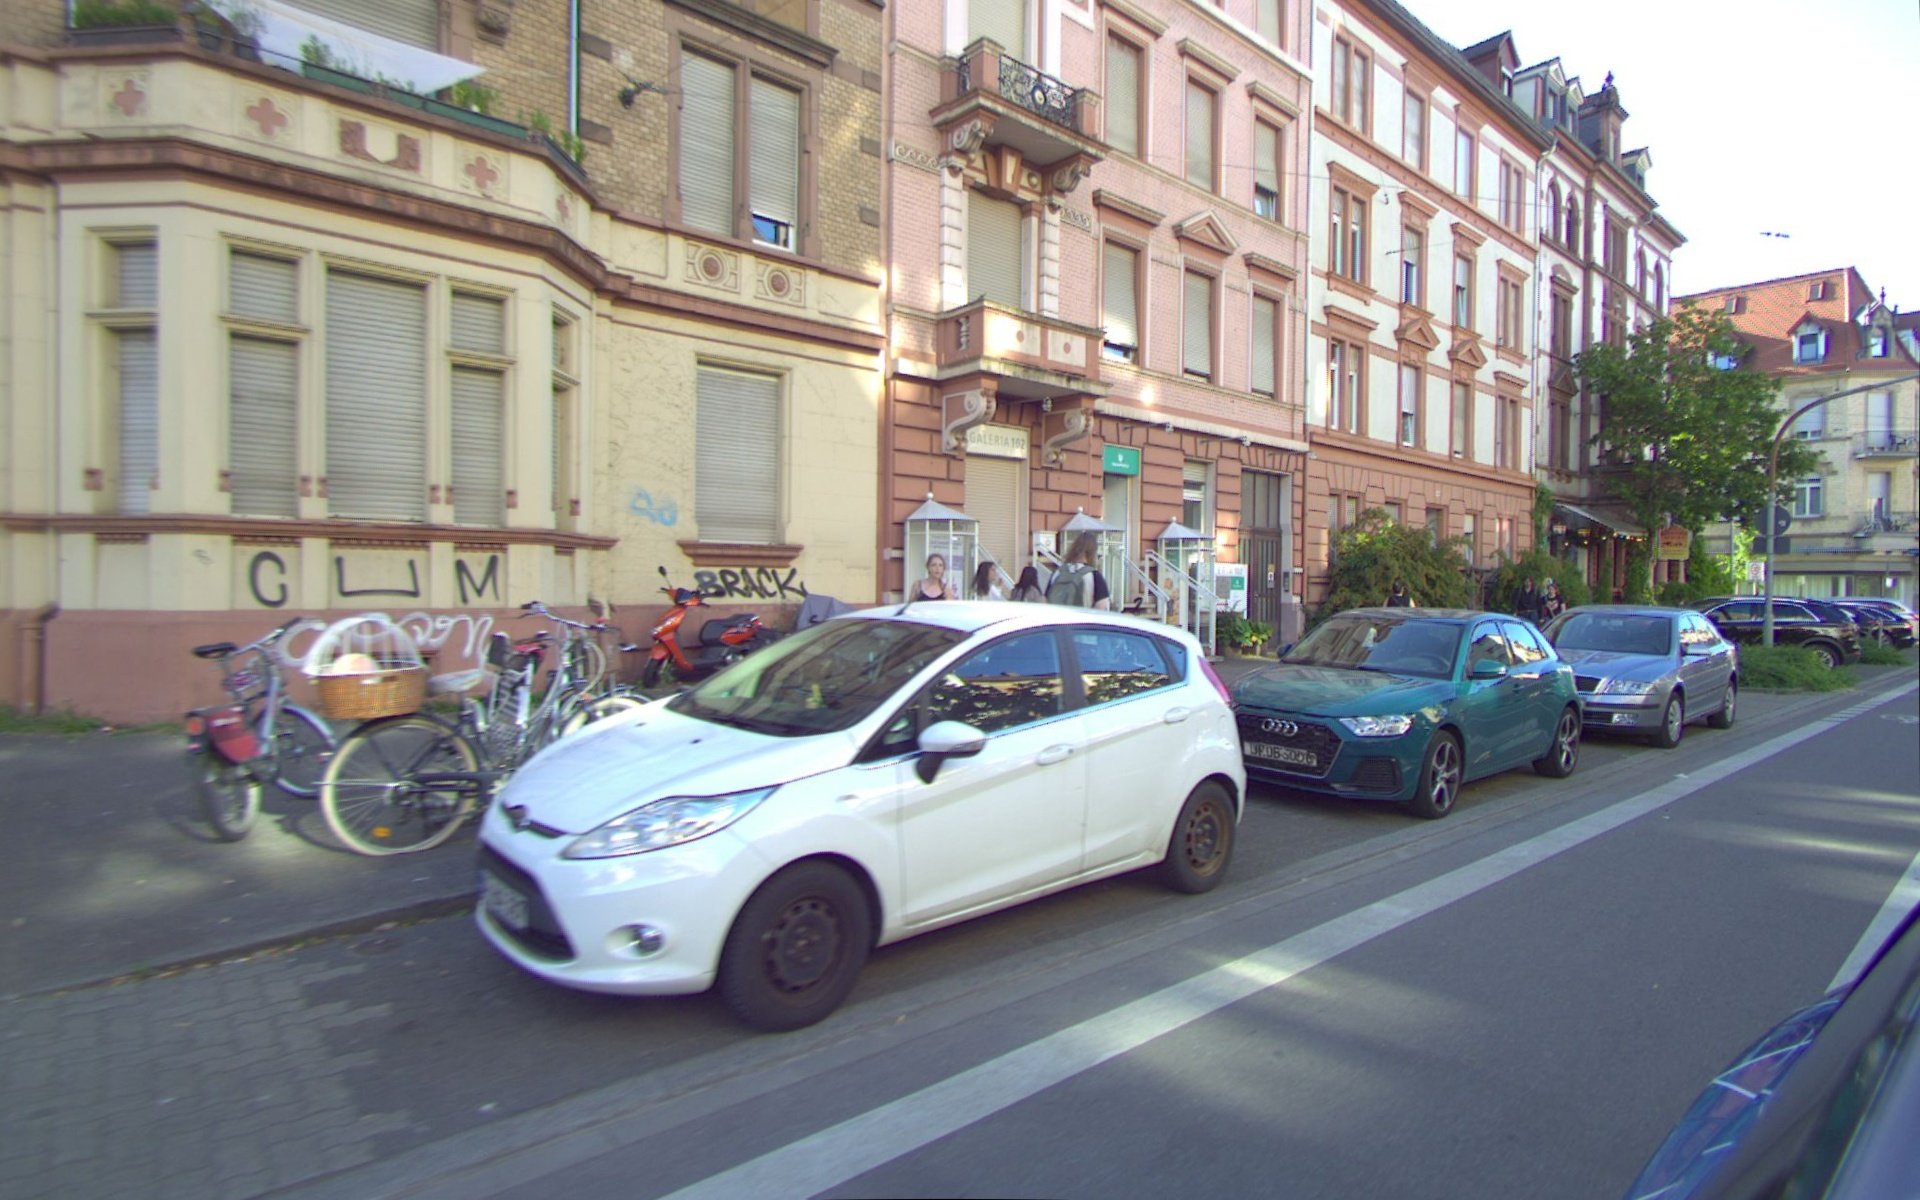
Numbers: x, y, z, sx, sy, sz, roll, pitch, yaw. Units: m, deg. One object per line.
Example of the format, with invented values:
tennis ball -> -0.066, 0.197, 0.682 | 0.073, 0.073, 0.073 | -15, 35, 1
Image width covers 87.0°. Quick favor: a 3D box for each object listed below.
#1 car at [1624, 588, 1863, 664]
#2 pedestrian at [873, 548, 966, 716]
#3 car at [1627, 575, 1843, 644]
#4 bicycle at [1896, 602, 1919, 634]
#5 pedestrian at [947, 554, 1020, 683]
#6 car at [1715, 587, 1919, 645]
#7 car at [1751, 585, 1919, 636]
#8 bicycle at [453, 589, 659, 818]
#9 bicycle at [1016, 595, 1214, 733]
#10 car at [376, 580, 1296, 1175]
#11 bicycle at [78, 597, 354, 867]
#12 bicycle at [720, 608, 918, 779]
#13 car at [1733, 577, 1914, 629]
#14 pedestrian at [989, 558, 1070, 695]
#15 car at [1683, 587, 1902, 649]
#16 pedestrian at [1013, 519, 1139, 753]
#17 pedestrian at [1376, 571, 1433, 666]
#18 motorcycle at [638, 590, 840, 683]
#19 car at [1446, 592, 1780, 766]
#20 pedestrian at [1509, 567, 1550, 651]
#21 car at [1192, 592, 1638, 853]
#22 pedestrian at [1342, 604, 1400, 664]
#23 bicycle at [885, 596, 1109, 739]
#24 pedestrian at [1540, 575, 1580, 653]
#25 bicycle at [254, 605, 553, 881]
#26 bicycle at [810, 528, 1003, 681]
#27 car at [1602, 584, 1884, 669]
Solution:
car -> 17.874, 0.545, 23.353 | 3.958, 1.616, 2.070 | 0, 0, 25
pedestrian -> -0.417, 0.305, 10.294 | 0.643, 1.627, 0.713 | 0, 0, -41
car -> 19.300, 0.202, 25.446 | 3.958, 1.616, 1.943 | 0, 0, 25
bicycle -> 34.208, 0.642, 35.931 | 0.542, 1.141, 1.399 | 0, 0, -40
pedestrian -> 0.301, 0.232, 13.259 | 0.643, 1.627, 0.713 | 0, 0, -41
car -> 25.428, 0.439, 30.100 | 4.402, 1.616, 2.071 | 0, 0, 25
car -> 29.264, 0.315, 33.663 | 4.320, 1.616, 1.838 | 0, 0, 25
bicycle -> -2.711, 0.550, 6.604 | 0.651, 1.237, 2.364 | 0, 0, -37
bicycle -> 1.526, 0.587, 10.314 | 0.652, 1.237, 2.059 | 0, 1, -42
car -> -0.326, 0.729, 4.754 | 3.930, 1.616, 1.876 | -1, 0, -41
bicycle -> -4.087, 0.607, 5.758 | 0.650, 1.237, 2.030 | 0, 0, -18
bicycle -> -1.236, 0.703, 8.487 | 0.652, 1.237, 2.022 | 0, 0, -41
car -> 27.172, 0.093, 32.036 | 3.958, 1.556, 1.902 | 0, 0, 25
pedestrian -> 0.861, 0.300, 12.626 | 0.643, 1.626, 0.713 | 0, 3, -41
car -> 22.994, 0.468, 28.196 | 4.287, 1.616, 2.028 | 0, 0, 25
pedestrian -> 0.891, 0.258, 7.801 | 0.643, 1.692, 0.713 | 0, 0, -41
pedestrian -> 7.789, 0.311, 17.724 | 0.643, 1.627, 0.713 | 0, 0, -41
motorcycle -> -2.656, 0.403, 12.439 | 2.475, 1.003, 0.508 | -1, 4, -41
car -> 7.677, 0.729, 11.718 | 4.634, 1.616, 1.878 | -1, 0, -39
pedestrian -> 12.431, 0.181, 22.092 | 0.848, 1.800, 0.519 | 0, 0, -41
car -> 3.875, 0.749, 8.340 | 3.930, 1.616, 1.876 | -1, 0, -41
pedestrian -> 7.407, 0.602, 18.237 | 0.643, 0.992, 0.713 | 0, 4, -41
bicycle -> 0.284, 0.579, 9.957 | 0.652, 1.237, 2.543 | 0, 0, -41
pedestrian -> 13.228, 0.297, 22.303 | 0.848, 1.669, 0.519 | 0, 0, -41
bicycle -> -2.814, 0.638, 5.154 | 1.217, 1.200, 0.694 | 0, 0, -41
bicycle -> -0.538, 0.028, 9.145 | 0.652, 1.237, 2.022 | 0, 0, -41
car -> 16.035, 0.490, 21.056 | 4.272, 1.616, 1.965 | 0, 0, 25
